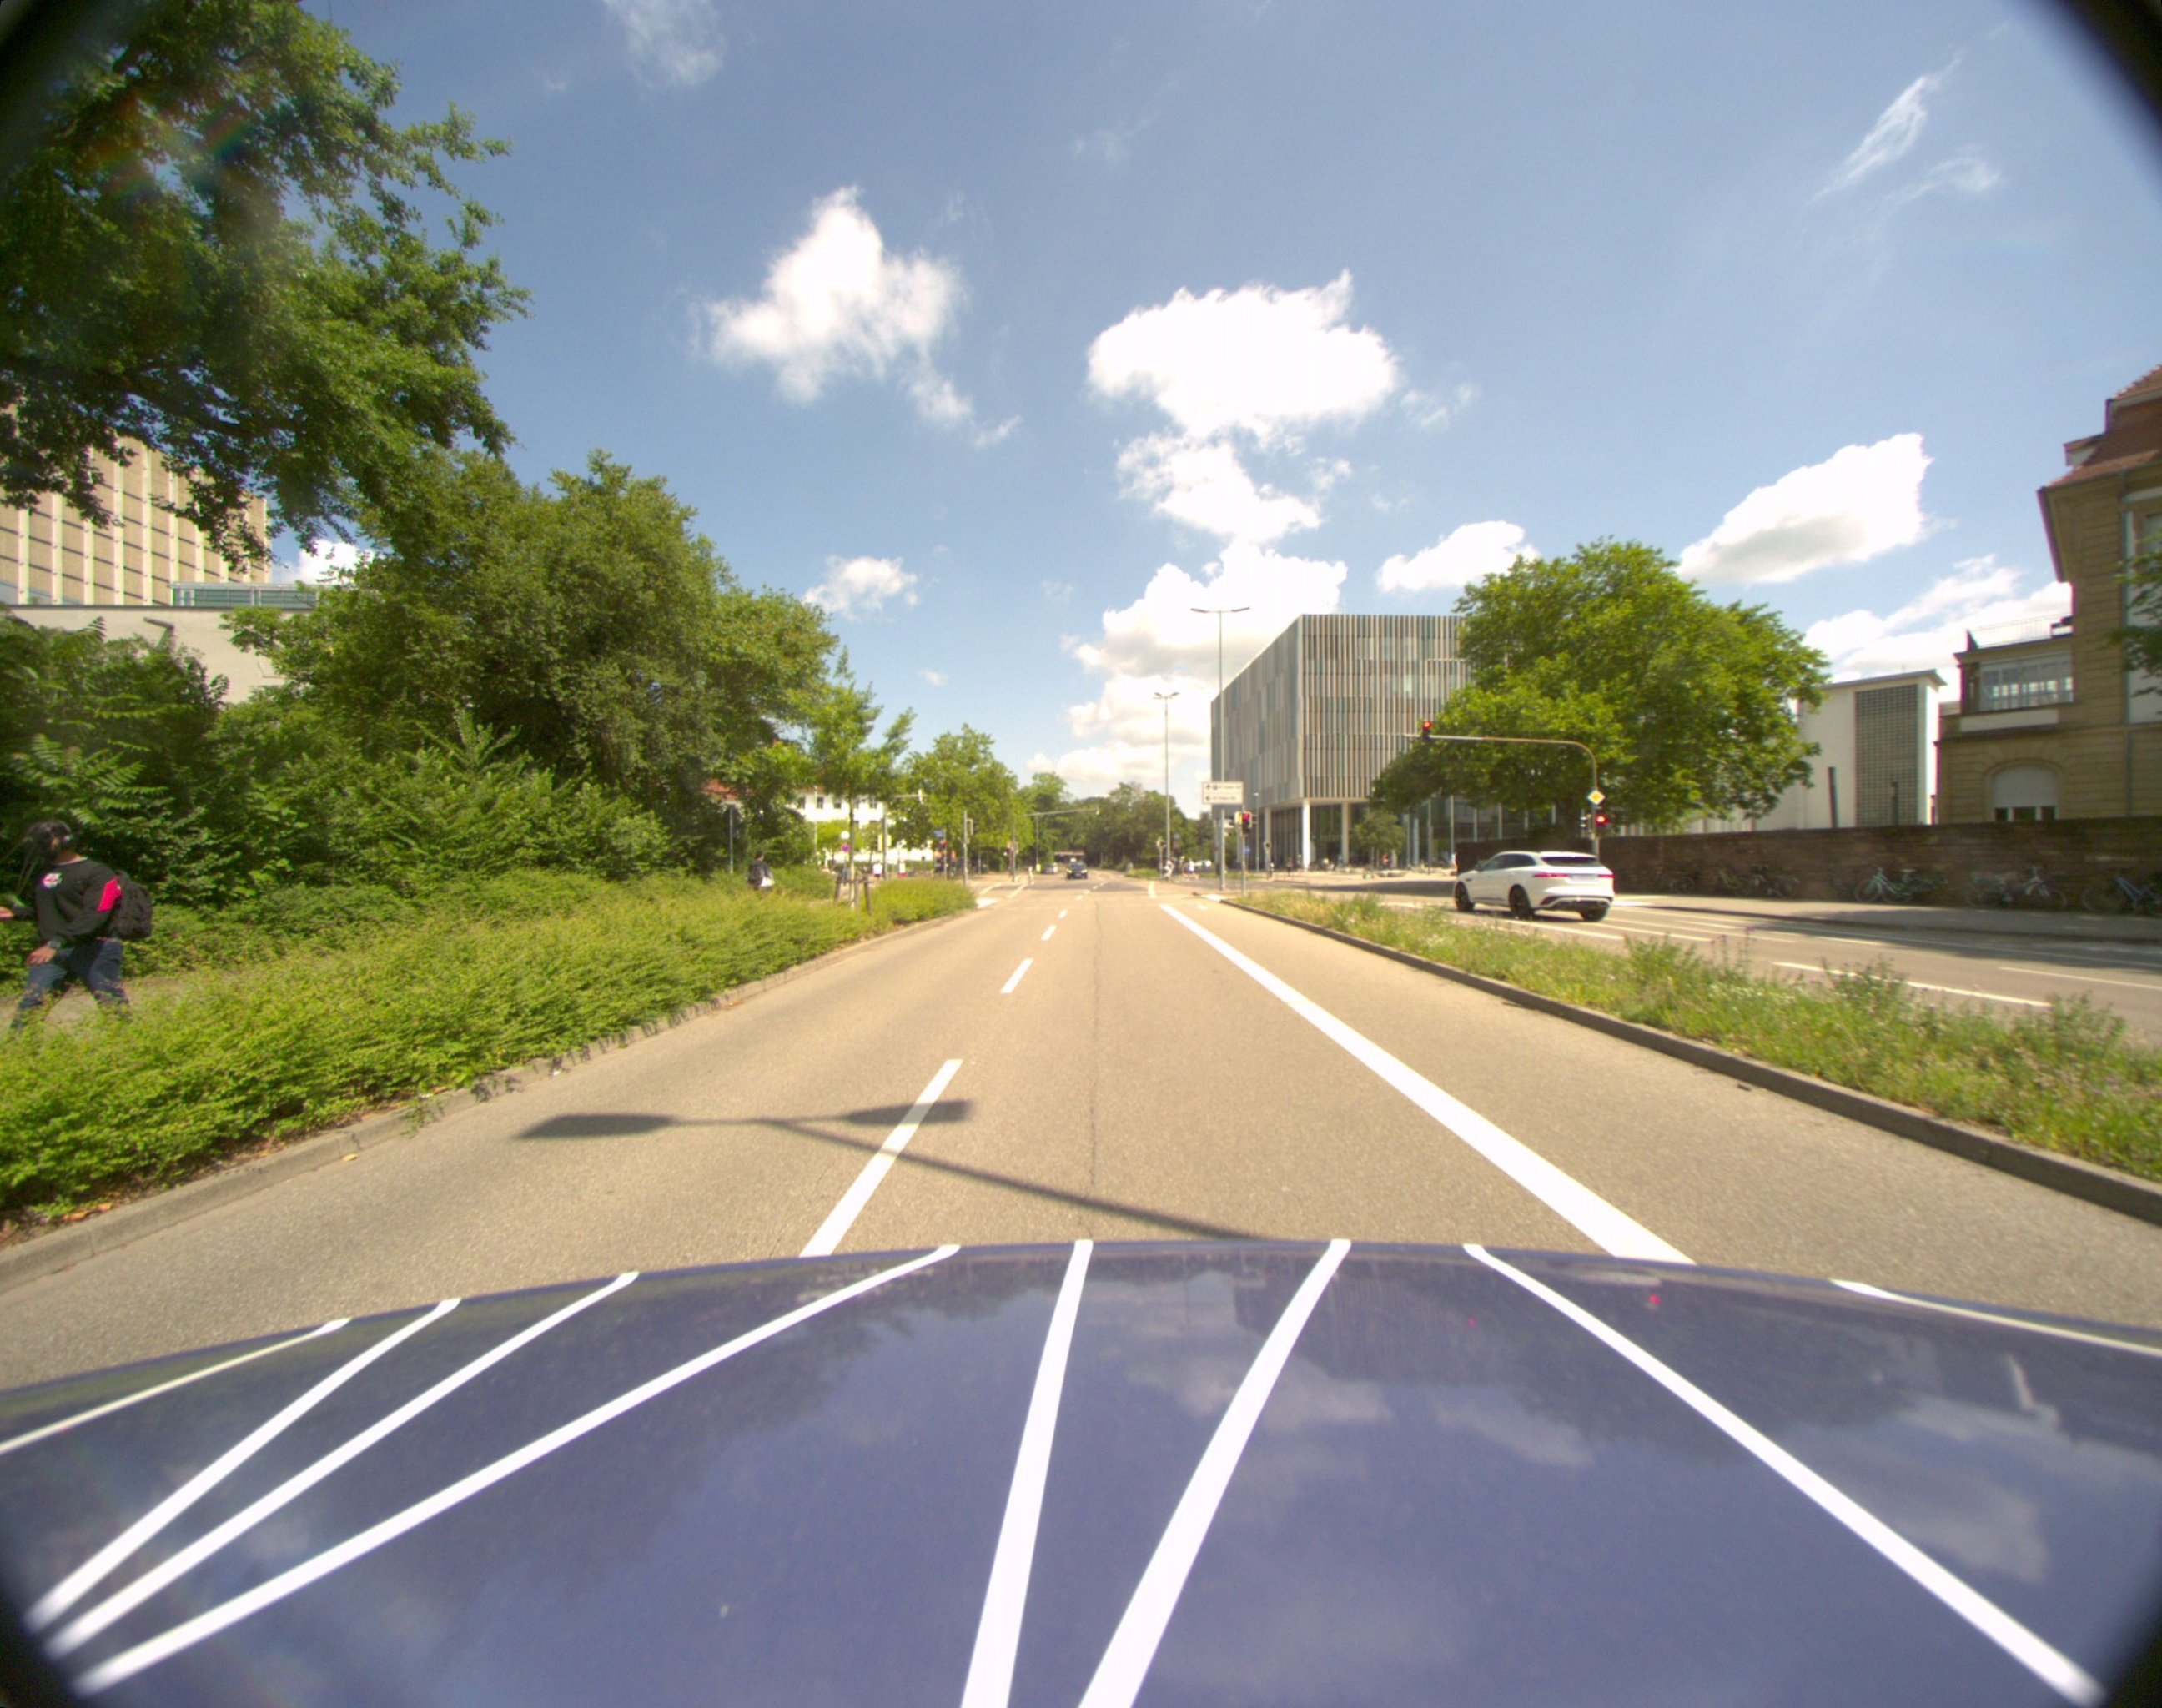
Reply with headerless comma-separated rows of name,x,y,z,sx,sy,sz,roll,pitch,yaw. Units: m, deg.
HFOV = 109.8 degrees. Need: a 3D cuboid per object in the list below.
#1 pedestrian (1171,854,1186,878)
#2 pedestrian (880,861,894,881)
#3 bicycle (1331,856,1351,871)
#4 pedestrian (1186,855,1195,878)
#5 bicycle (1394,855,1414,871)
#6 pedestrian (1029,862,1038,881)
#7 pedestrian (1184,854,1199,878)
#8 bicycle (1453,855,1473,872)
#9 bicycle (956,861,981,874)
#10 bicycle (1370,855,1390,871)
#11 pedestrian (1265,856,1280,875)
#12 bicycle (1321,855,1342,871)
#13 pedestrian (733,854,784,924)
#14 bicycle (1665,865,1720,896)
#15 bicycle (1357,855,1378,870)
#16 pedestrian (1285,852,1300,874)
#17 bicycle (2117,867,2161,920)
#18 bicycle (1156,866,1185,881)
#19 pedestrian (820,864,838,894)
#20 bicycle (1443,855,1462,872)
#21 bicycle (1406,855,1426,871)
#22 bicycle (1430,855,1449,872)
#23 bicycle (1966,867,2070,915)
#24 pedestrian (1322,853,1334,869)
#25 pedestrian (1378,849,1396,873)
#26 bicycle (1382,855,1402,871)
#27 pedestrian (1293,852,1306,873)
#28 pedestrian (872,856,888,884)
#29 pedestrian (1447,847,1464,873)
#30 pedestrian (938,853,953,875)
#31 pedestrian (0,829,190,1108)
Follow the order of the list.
pedestrian,7.918,0.974,61.742,1.108,1.914,0.972,-1,1,7
pedestrian,-15.285,1.319,59.881,1.064,1.588,0.971,-1,0,-14
bicycle,27.273,1.017,79.703,2.693,1.485,0.930,-1,0,-44
pedestrian,8.862,0.985,61.450,0.646,1.815,0.689,-1,0,1
bicycle,31.845,0.881,74.932,0.997,1.543,3.422,-1,0,37
pedestrian,-3.775,1.423,60.779,0.591,1.495,0.416,-1,1,-18
pedestrian,8.821,0.931,60.509,1.108,1.914,0.972,-1,1,9
bicycle,35.054,0.854,69.732,0.997,1.543,3.422,-1,0,37
bicycle,-10.669,1.280,72.179,2.160,1.244,0.887,-1,0,25
bicycle,30.247,0.878,76.740,0.997,1.543,3.422,-1,0,37
pedestrian,16.872,1.021,66.821,0.972,1.619,0.878,-1,0,-12
bicycle,26.507,0.936,80.437,0.808,1.634,3.422,0,0,42
pedestrian,-8.115,0.863,19.156,0.815,1.711,0.929,-1,1,2
bicycle,22.344,0.963,27.800,0.573,1.092,1.593,-1,0,-8
bicycle,29.352,0.878,77.781,1.049,1.543,3.422,-1,0,37
pedestrian,18.840,0.823,67.561,0.969,1.914,0.881,0,1,45
bicycle,23.809,0.873,16.467,0.403,1.145,1.593,-1,0,-11
bicycle,6.029,1.319,51.230,2.168,0.992,0.645,-1,0,-40
pedestrian,-13.590,1.355,41.052,0.633,1.617,0.647,0,1,36
bicycle,34.940,0.859,71.391,0.997,1.543,3.422,-1,0,37
bicycle,32.516,0.884,73.745,0.997,1.543,3.422,-1,0,37
bicycle,34.043,0.882,72.095,0.997,1.543,3.422,-1,0,37
bicycle,23.213,0.893,18.849,0.403,1.145,1.590,-1,0,-32
pedestrian,27.451,0.769,84.478,1.011,1.697,1.213,-1,0,35
pedestrian,24.958,0.584,61.924,1.108,1.914,0.972,-1,1,6
bicycle,31.022,0.878,75.858,0.997,1.543,3.422,-1,0,37
pedestrian,20.024,0.787,69.575,0.969,1.914,0.880,-1,1,27
pedestrian,-13.816,1.091,52.295,0.878,1.861,0.971,-1,0,-4
pedestrian,28.369,0.457,57.530,1.106,1.914,0.974,-1,1,31
pedestrian,-11.639,0.862,65.297,1.030,1.914,0.972,-1,1,9
pedestrian,-6.830,0.705,5.075,0.718,1.711,0.837,-1,1,2
